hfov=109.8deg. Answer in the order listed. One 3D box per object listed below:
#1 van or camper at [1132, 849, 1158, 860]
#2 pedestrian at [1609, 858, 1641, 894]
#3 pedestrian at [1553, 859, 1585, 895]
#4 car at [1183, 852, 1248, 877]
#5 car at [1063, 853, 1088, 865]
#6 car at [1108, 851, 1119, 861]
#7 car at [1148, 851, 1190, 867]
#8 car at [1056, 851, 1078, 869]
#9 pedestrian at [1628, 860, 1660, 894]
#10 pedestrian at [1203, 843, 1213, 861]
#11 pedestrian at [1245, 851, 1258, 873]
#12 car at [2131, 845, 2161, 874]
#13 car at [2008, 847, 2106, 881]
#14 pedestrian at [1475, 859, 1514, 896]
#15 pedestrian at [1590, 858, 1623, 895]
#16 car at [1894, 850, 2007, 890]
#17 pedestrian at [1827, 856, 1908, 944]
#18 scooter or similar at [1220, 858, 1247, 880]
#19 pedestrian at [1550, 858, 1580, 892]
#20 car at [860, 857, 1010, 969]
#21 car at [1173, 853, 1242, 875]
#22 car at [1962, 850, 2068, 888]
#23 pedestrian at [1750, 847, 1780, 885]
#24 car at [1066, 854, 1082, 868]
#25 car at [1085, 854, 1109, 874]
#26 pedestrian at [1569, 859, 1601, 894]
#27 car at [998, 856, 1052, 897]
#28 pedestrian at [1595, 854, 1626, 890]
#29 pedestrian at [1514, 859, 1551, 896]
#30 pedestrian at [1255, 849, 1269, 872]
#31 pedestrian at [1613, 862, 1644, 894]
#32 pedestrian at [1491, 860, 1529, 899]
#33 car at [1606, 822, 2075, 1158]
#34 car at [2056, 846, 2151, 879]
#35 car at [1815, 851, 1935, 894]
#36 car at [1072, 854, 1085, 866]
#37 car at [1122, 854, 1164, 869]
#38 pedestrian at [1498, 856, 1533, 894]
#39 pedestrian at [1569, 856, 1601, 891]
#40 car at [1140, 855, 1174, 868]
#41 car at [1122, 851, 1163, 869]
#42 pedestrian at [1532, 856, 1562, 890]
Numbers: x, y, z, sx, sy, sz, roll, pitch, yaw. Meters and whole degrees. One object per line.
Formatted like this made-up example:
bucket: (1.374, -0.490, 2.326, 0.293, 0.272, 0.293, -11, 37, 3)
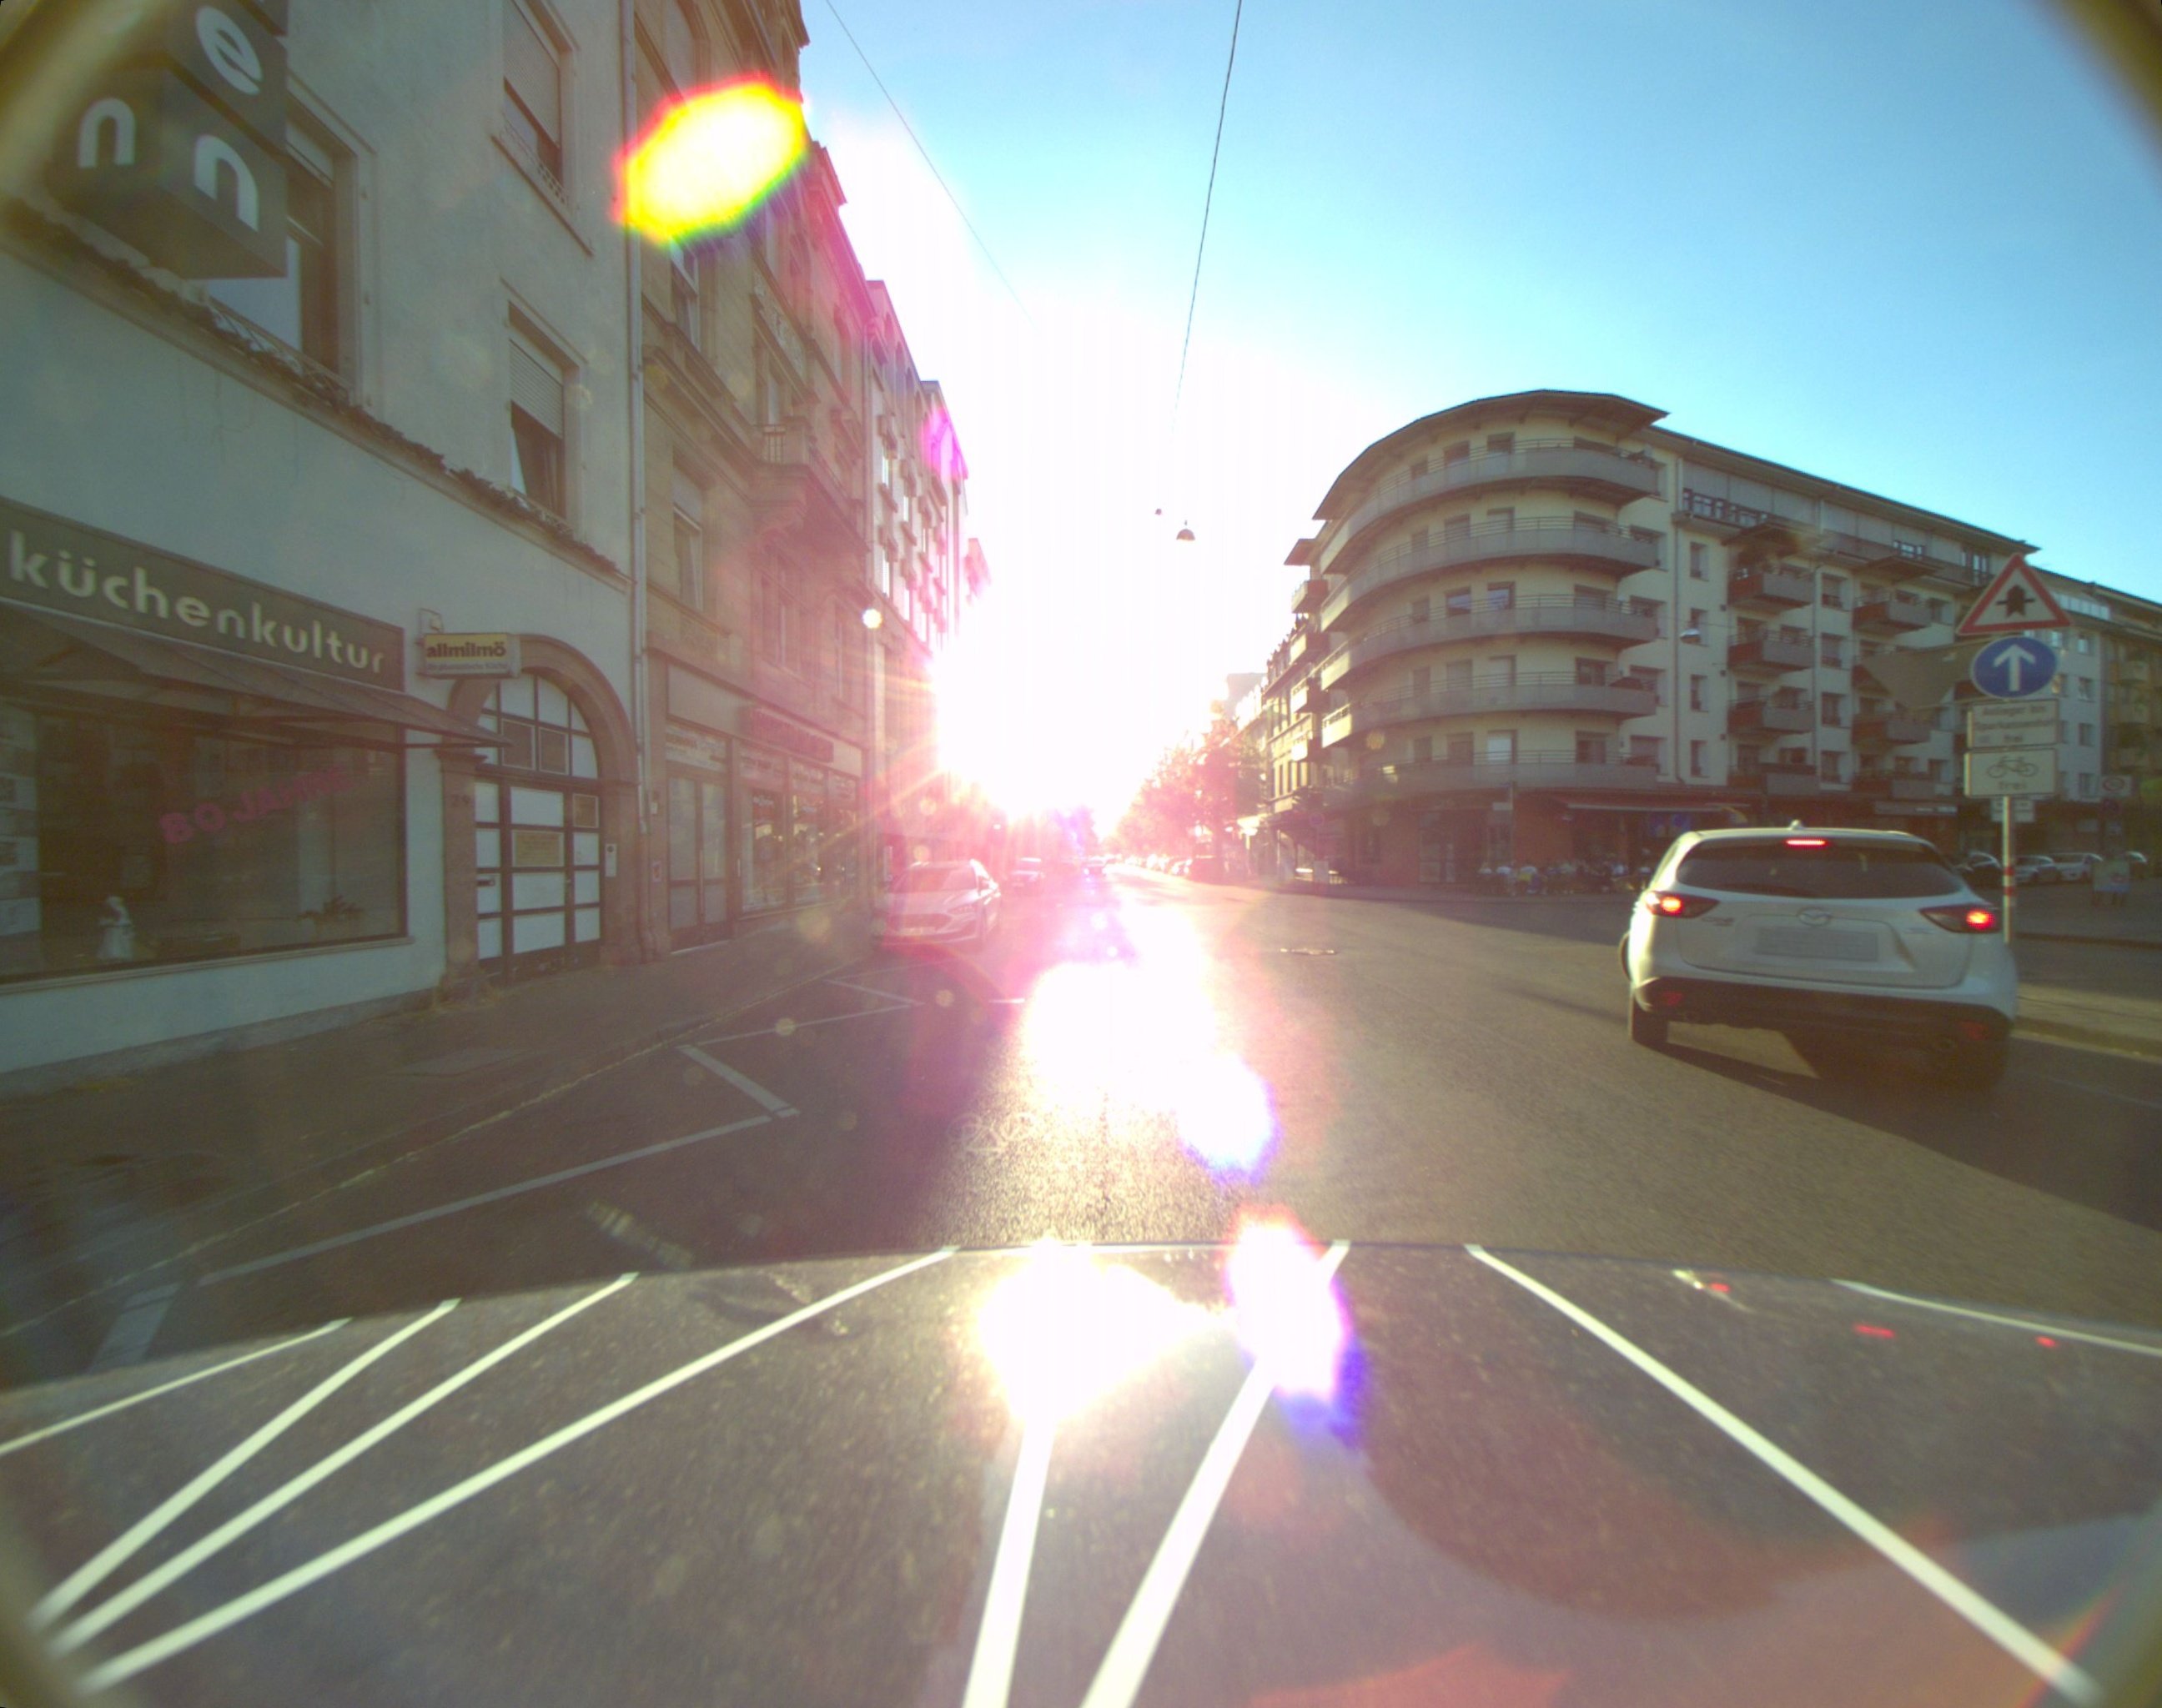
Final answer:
van or camper: (10.954, 0.088, 130.284, 4.469, 1.945, 1.789, -1, 0, 3)
pedestrian: (19.838, 0.802, 27.718, 0.622, 1.281, 0.701, 0, 2, -8)
pedestrian: (17.423, 0.818, 27.132, 0.622, 1.240, 0.701, 0, 2, -8)
car: (9.151, 0.685, 51.830, 4.082, 1.527, 1.884, -2, 0, 1)
car: (-0.806, 0.750, 112.021, 1.661, 1.574, 3.632, 0, -1, 42)
car: (5.837, 0.408, 138.588, 1.866, 1.682, 4.461, 0, -1, 1)
car: (9.717, 0.520, 84.263, 4.417, 1.586, 1.890, -2, 0, 0)
car: (-1.446, 0.623, 79.563, 2.043, 1.727, 4.712, 1, 0, 2)
pedestrian: (21.054, 0.851, 28.423, 0.622, 1.218, 0.701, -1, 2, -12)
pedestrian: (12.974, -0.213, 77.557, 0.774, 1.712, 0.875, -2, 2, 2)
pedestrian: (12.293, 0.549, 54.745, 0.736, 1.519, 0.875, -2, 2, 2)
car: (62.429, 0.279, 43.388, 4.004, 1.586, 1.967, -1, 0, -22)
car: (48.303, 0.480, 37.611, 4.004, 1.586, 1.967, -1, 0, -22)
pedestrian: (14.355, 0.811, 26.373, 0.900, 1.235, 0.767, 0, 2, -7)
pedestrian: (18.996, 0.813, 27.474, 0.622, 1.281, 0.701, 0, 2, -8)
car: (37.240, 0.654, 32.538, 4.004, 1.586, 1.967, -1, 0, -22)
pedestrian: (14.483, 0.814, 14.001, 0.901, 1.557, 0.766, 0, 0, -24)
scooter or similar: (8.878, 0.867, 44.273, 1.402, 1.219, 0.525, -2, 1, -2)
pedestrian: (17.966, 0.770, 28.212, 0.622, 1.240, 0.701, 0, 2, -8)
car: (-2.402, 0.892, 13.753, 1.763, 1.528, 4.820, -3, 1, -1)
car: (9.007, 0.728, 54.338, 4.582, 1.399, 1.821, -2, 0, 0)
car: (42.512, 0.642, 34.589, 4.004, 1.586, 1.967, -1, 0, -22)
pedestrian: (27.160, 0.479, 30.174, 0.702, 1.461, 0.620, -1, 2, -25)
car: (-0.791, 0.769, 86.526, 1.734, 1.479, 3.900, 1, 0, -1)
car: (1.317, 0.783, 60.372, 1.825, 1.469, 4.155, -1, 0, 2)
pedestrian: (18.112, 0.798, 27.295, 0.622, 1.240, 0.701, 0, 2, -8)
car: (-2.306, 0.902, 32.103, 1.763, 1.527, 4.000, 2, 0, 2)
pedestrian: (20.048, 0.672, 28.766, 0.622, 1.326, 0.701, 0, 2, -8)
pedestrian: (15.650, 0.818, 26.355, 0.724, 1.240, 0.829, 0, 2, -5)
pedestrian: (13.008, 0.495, 54.699, 0.774, 1.599, 0.875, -2, 2, 2)
pedestrian: (21.407, 0.940, 29.716, 0.622, 1.218, 0.701, -1, 2, -12)
pedestrian: (14.531, 0.845, 25.771, 0.829, 1.266, 0.748, 0, 2, -7)
car: (5.687, 0.698, 6.333, 1.994, 1.751, 4.475, 0, 0, 37)
car: (52.586, 0.394, 39.075, 4.004, 1.586, 1.967, -1, 0, -22)
car: (31.708, 0.679, 30.369, 4.004, 1.586, 1.967, -1, 0, -22)
car: (-0.335, 0.803, 102.524, 1.695, 1.534, 3.553, 1, 0, 1)
car: (6.369, 0.769, 78.900, 4.160, 1.413, 1.766, -2, 0, -1)
pedestrian: (15.641, 0.743, 27.365, 0.748, 1.340, 0.829, 0, 2, -5)
pedestrian: (18.913, 0.725, 28.527, 0.657, 1.281, 0.701, 0, 2, -8)
car: (9.956, 0.976, 99.462, 4.285, 1.475, 1.744, -1, 0, 2)
car: (6.604, 0.647, 81.911, 4.160, 1.762, 1.890, -2, 0, -1)
pedestrian: (17.244, 0.701, 28.151, 0.622, 1.240, 0.701, 0, 2, -8)
